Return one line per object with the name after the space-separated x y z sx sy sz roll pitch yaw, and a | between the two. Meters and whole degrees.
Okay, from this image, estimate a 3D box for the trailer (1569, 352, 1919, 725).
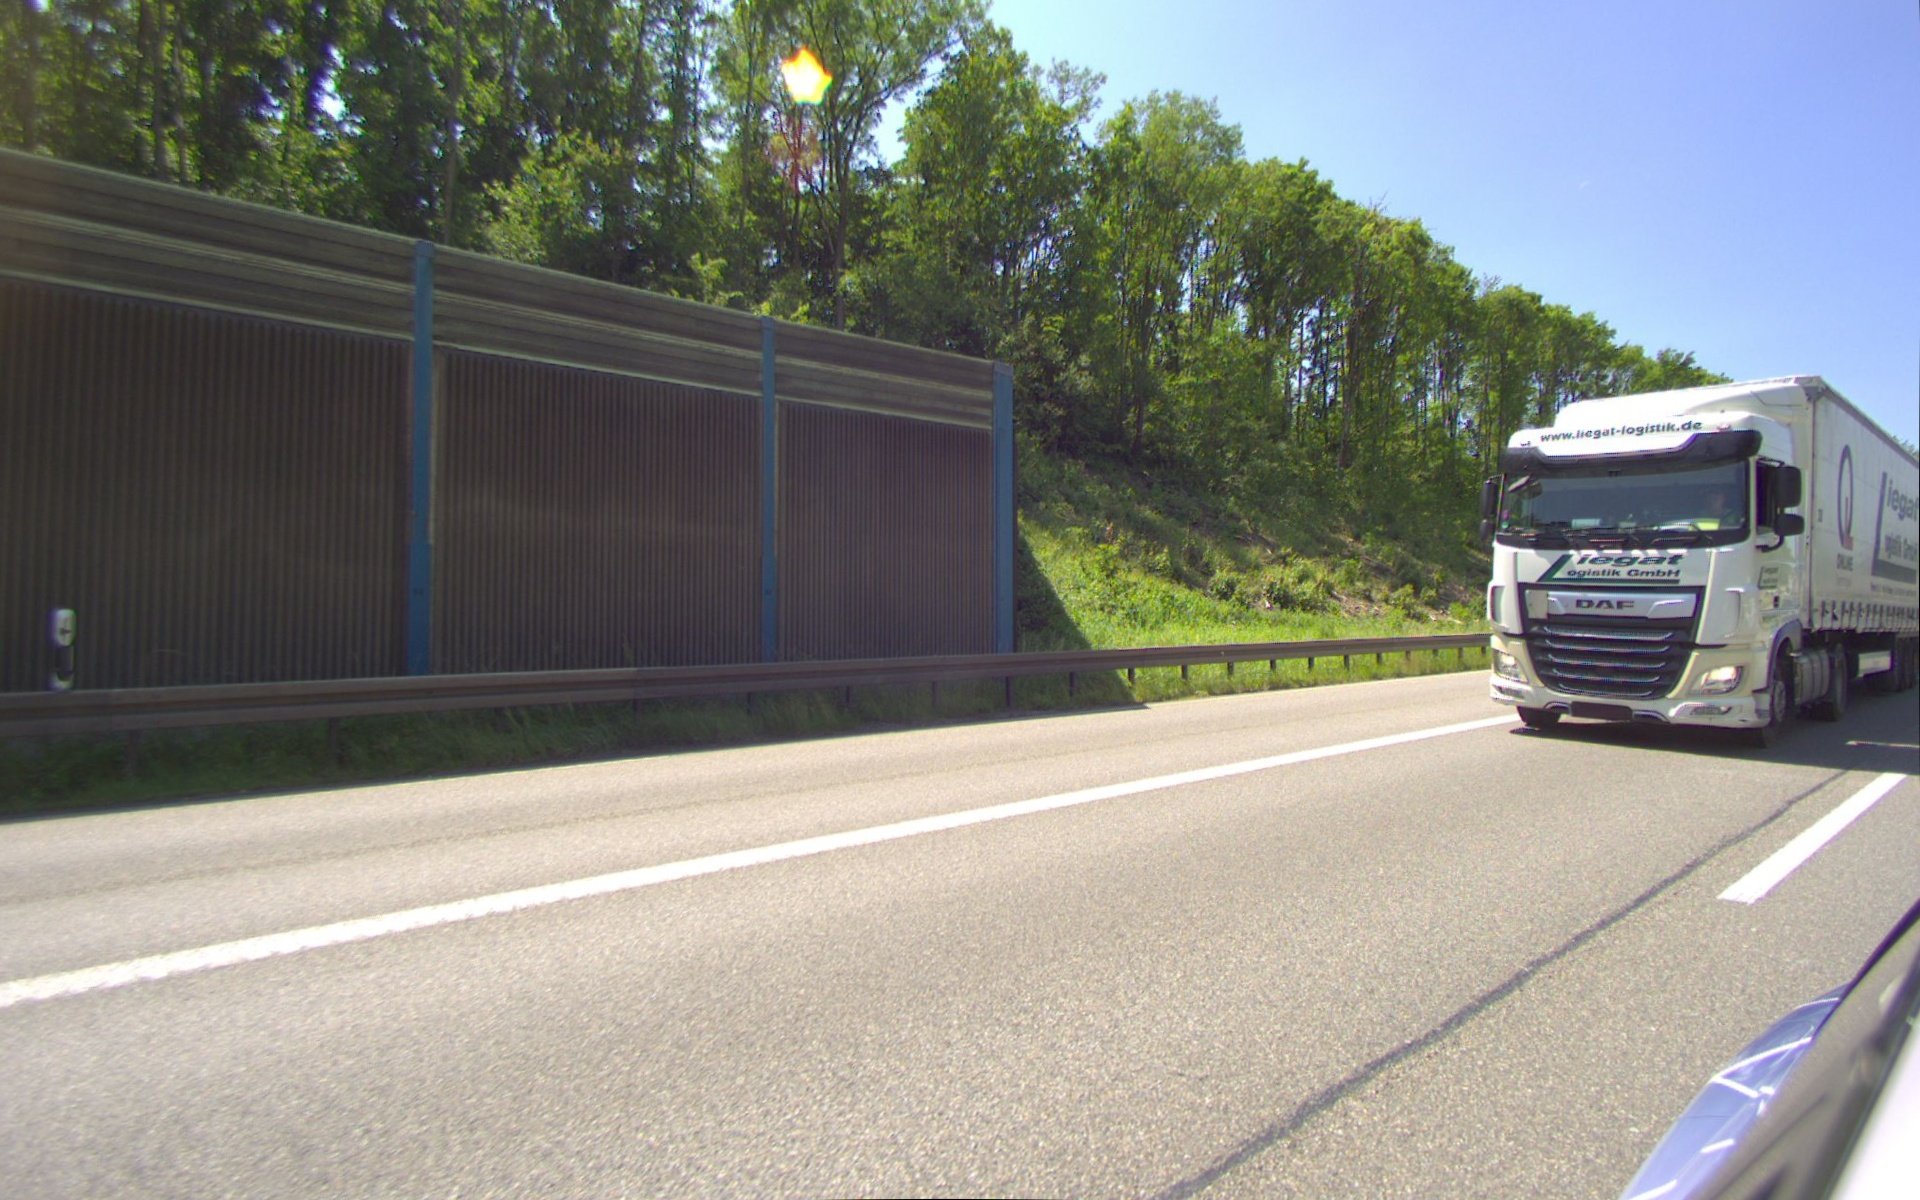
14.084 -0.635 16.864 13.008 4.258 2.791 1 -1 -41 | trailer

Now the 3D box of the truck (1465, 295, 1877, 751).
8.869 -0.697 12.379 5.765 4.258 2.791 1 -1 -40 | truck
